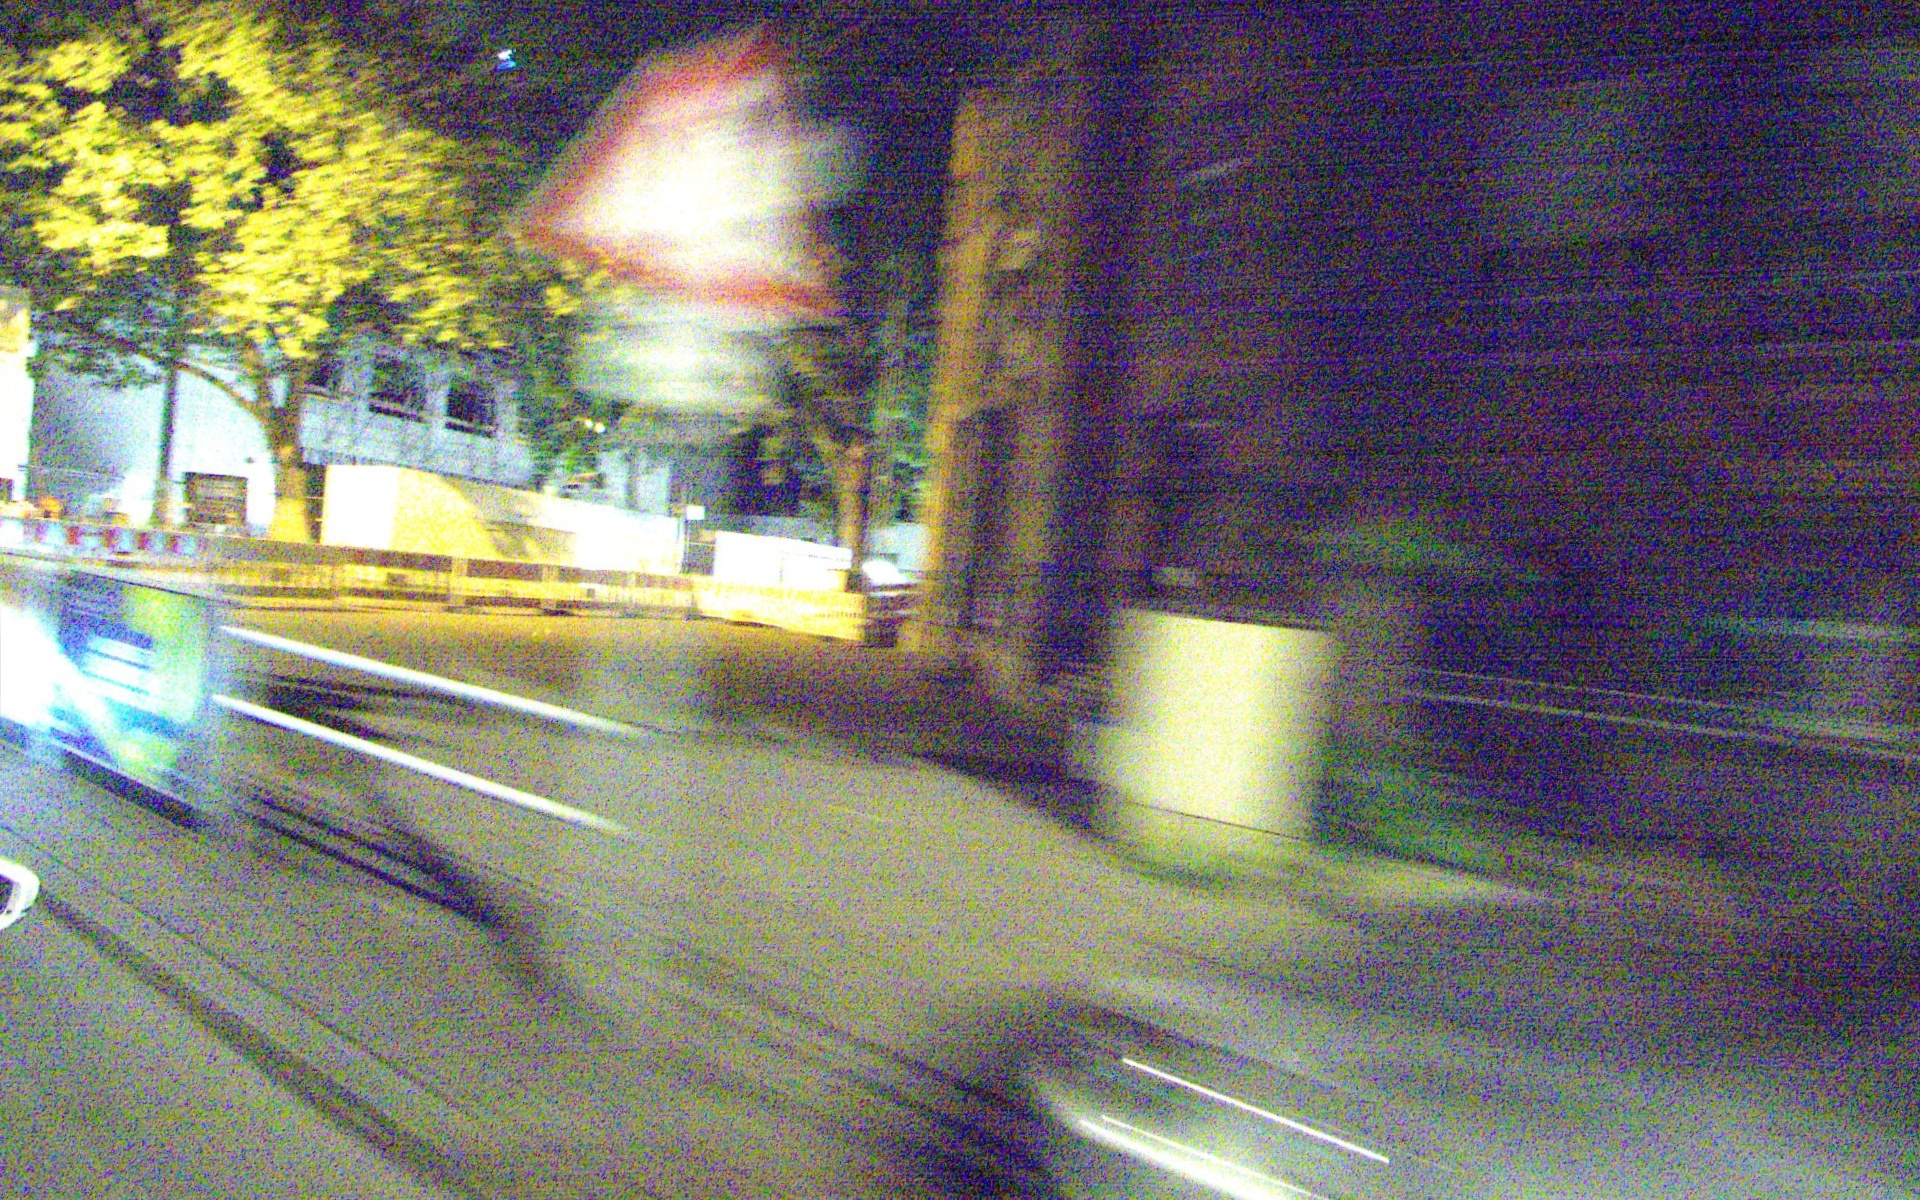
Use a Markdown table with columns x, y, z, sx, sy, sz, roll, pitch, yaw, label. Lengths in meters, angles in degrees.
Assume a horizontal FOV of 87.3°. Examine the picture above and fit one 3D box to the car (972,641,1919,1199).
| x | y | z | sx | sy | sz | roll | pitch | yaw | label |
| --- | --- | --- | --- | --- | --- | --- | --- | --- | --- |
| 2.304 | 1.050 | 1.511 | 4.249 | 1.437 | 1.730 | 7 | 1 | 29 | car |
